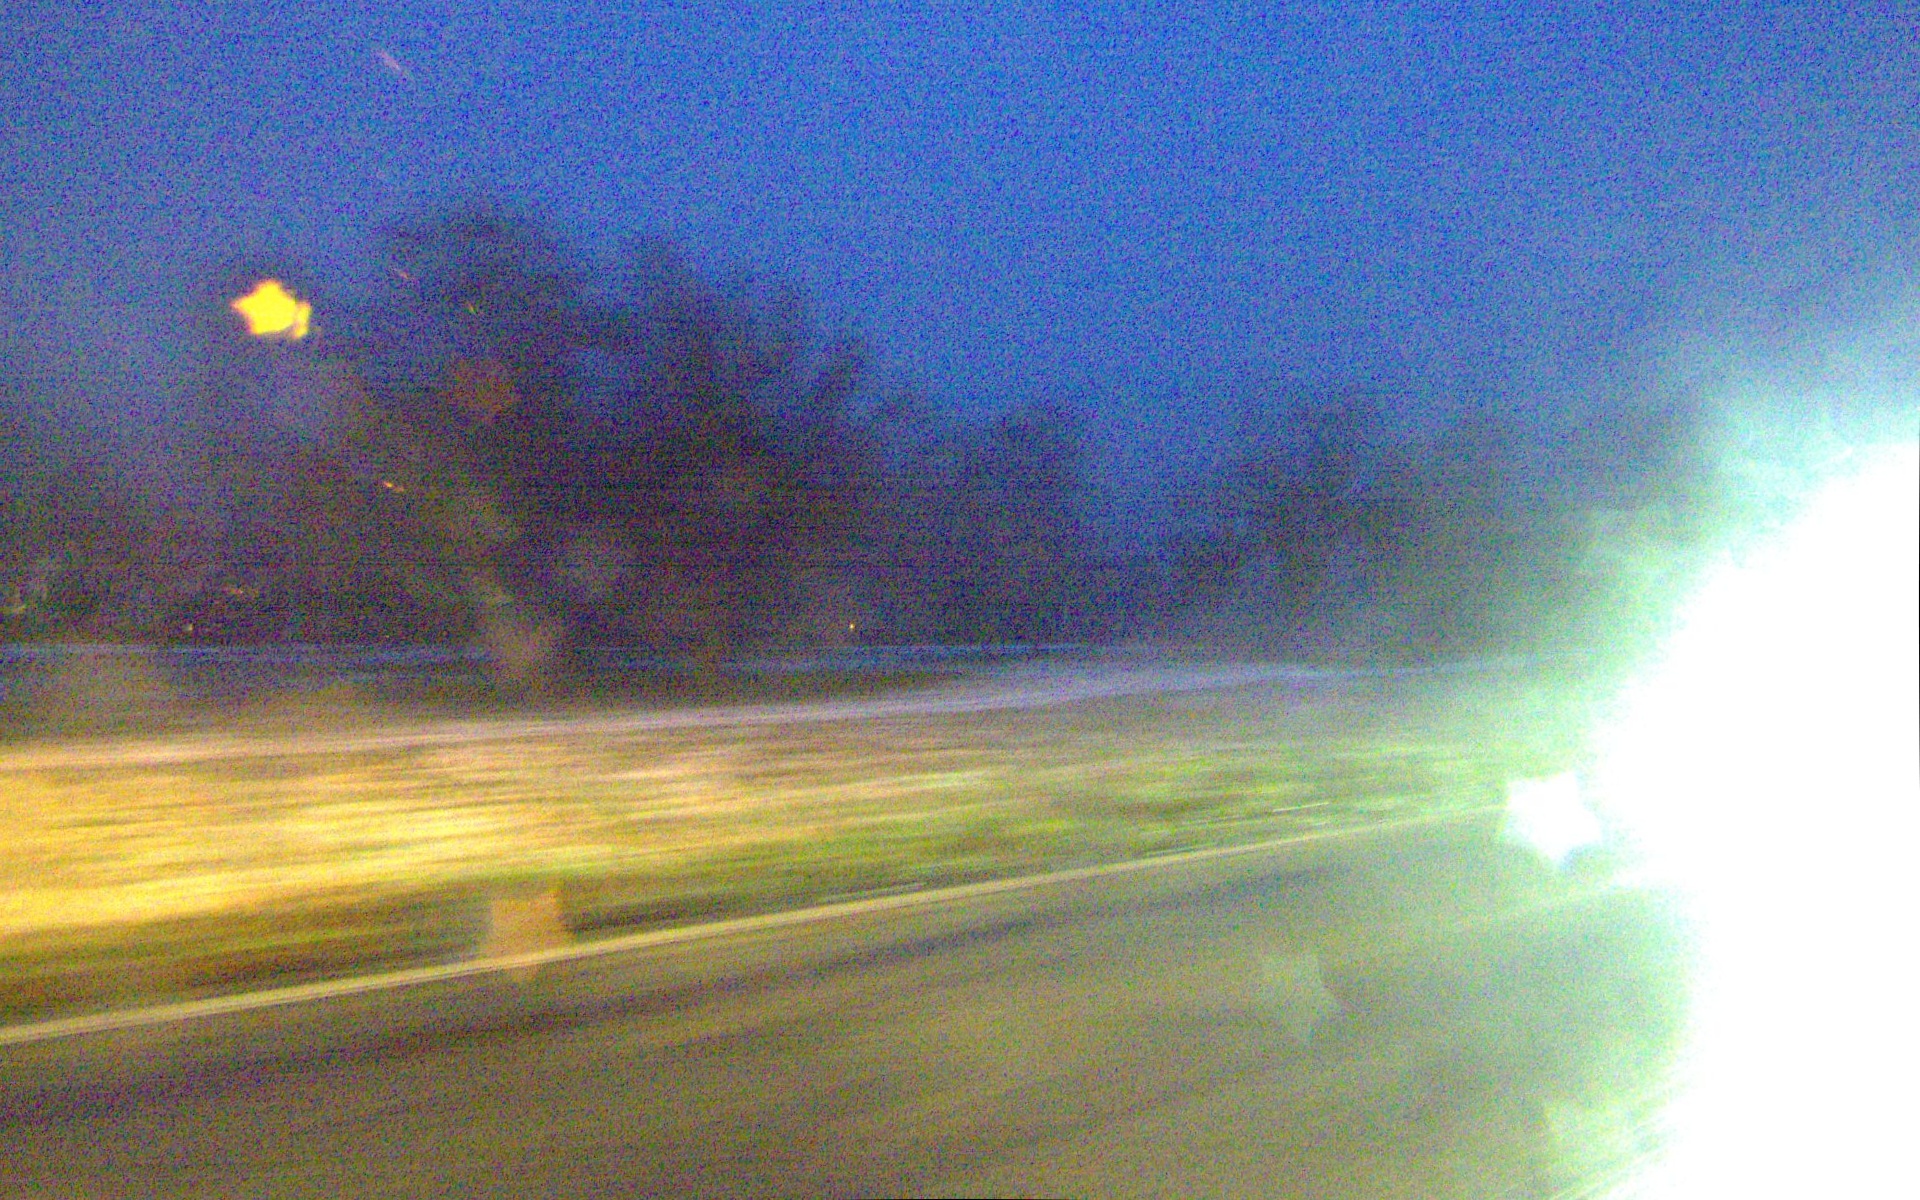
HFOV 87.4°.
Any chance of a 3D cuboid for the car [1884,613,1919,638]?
[{"bbox_3d":[68.983,1.820,71.413,4.860,1.758,1.988,-1,0,44],"label":"car"}]
